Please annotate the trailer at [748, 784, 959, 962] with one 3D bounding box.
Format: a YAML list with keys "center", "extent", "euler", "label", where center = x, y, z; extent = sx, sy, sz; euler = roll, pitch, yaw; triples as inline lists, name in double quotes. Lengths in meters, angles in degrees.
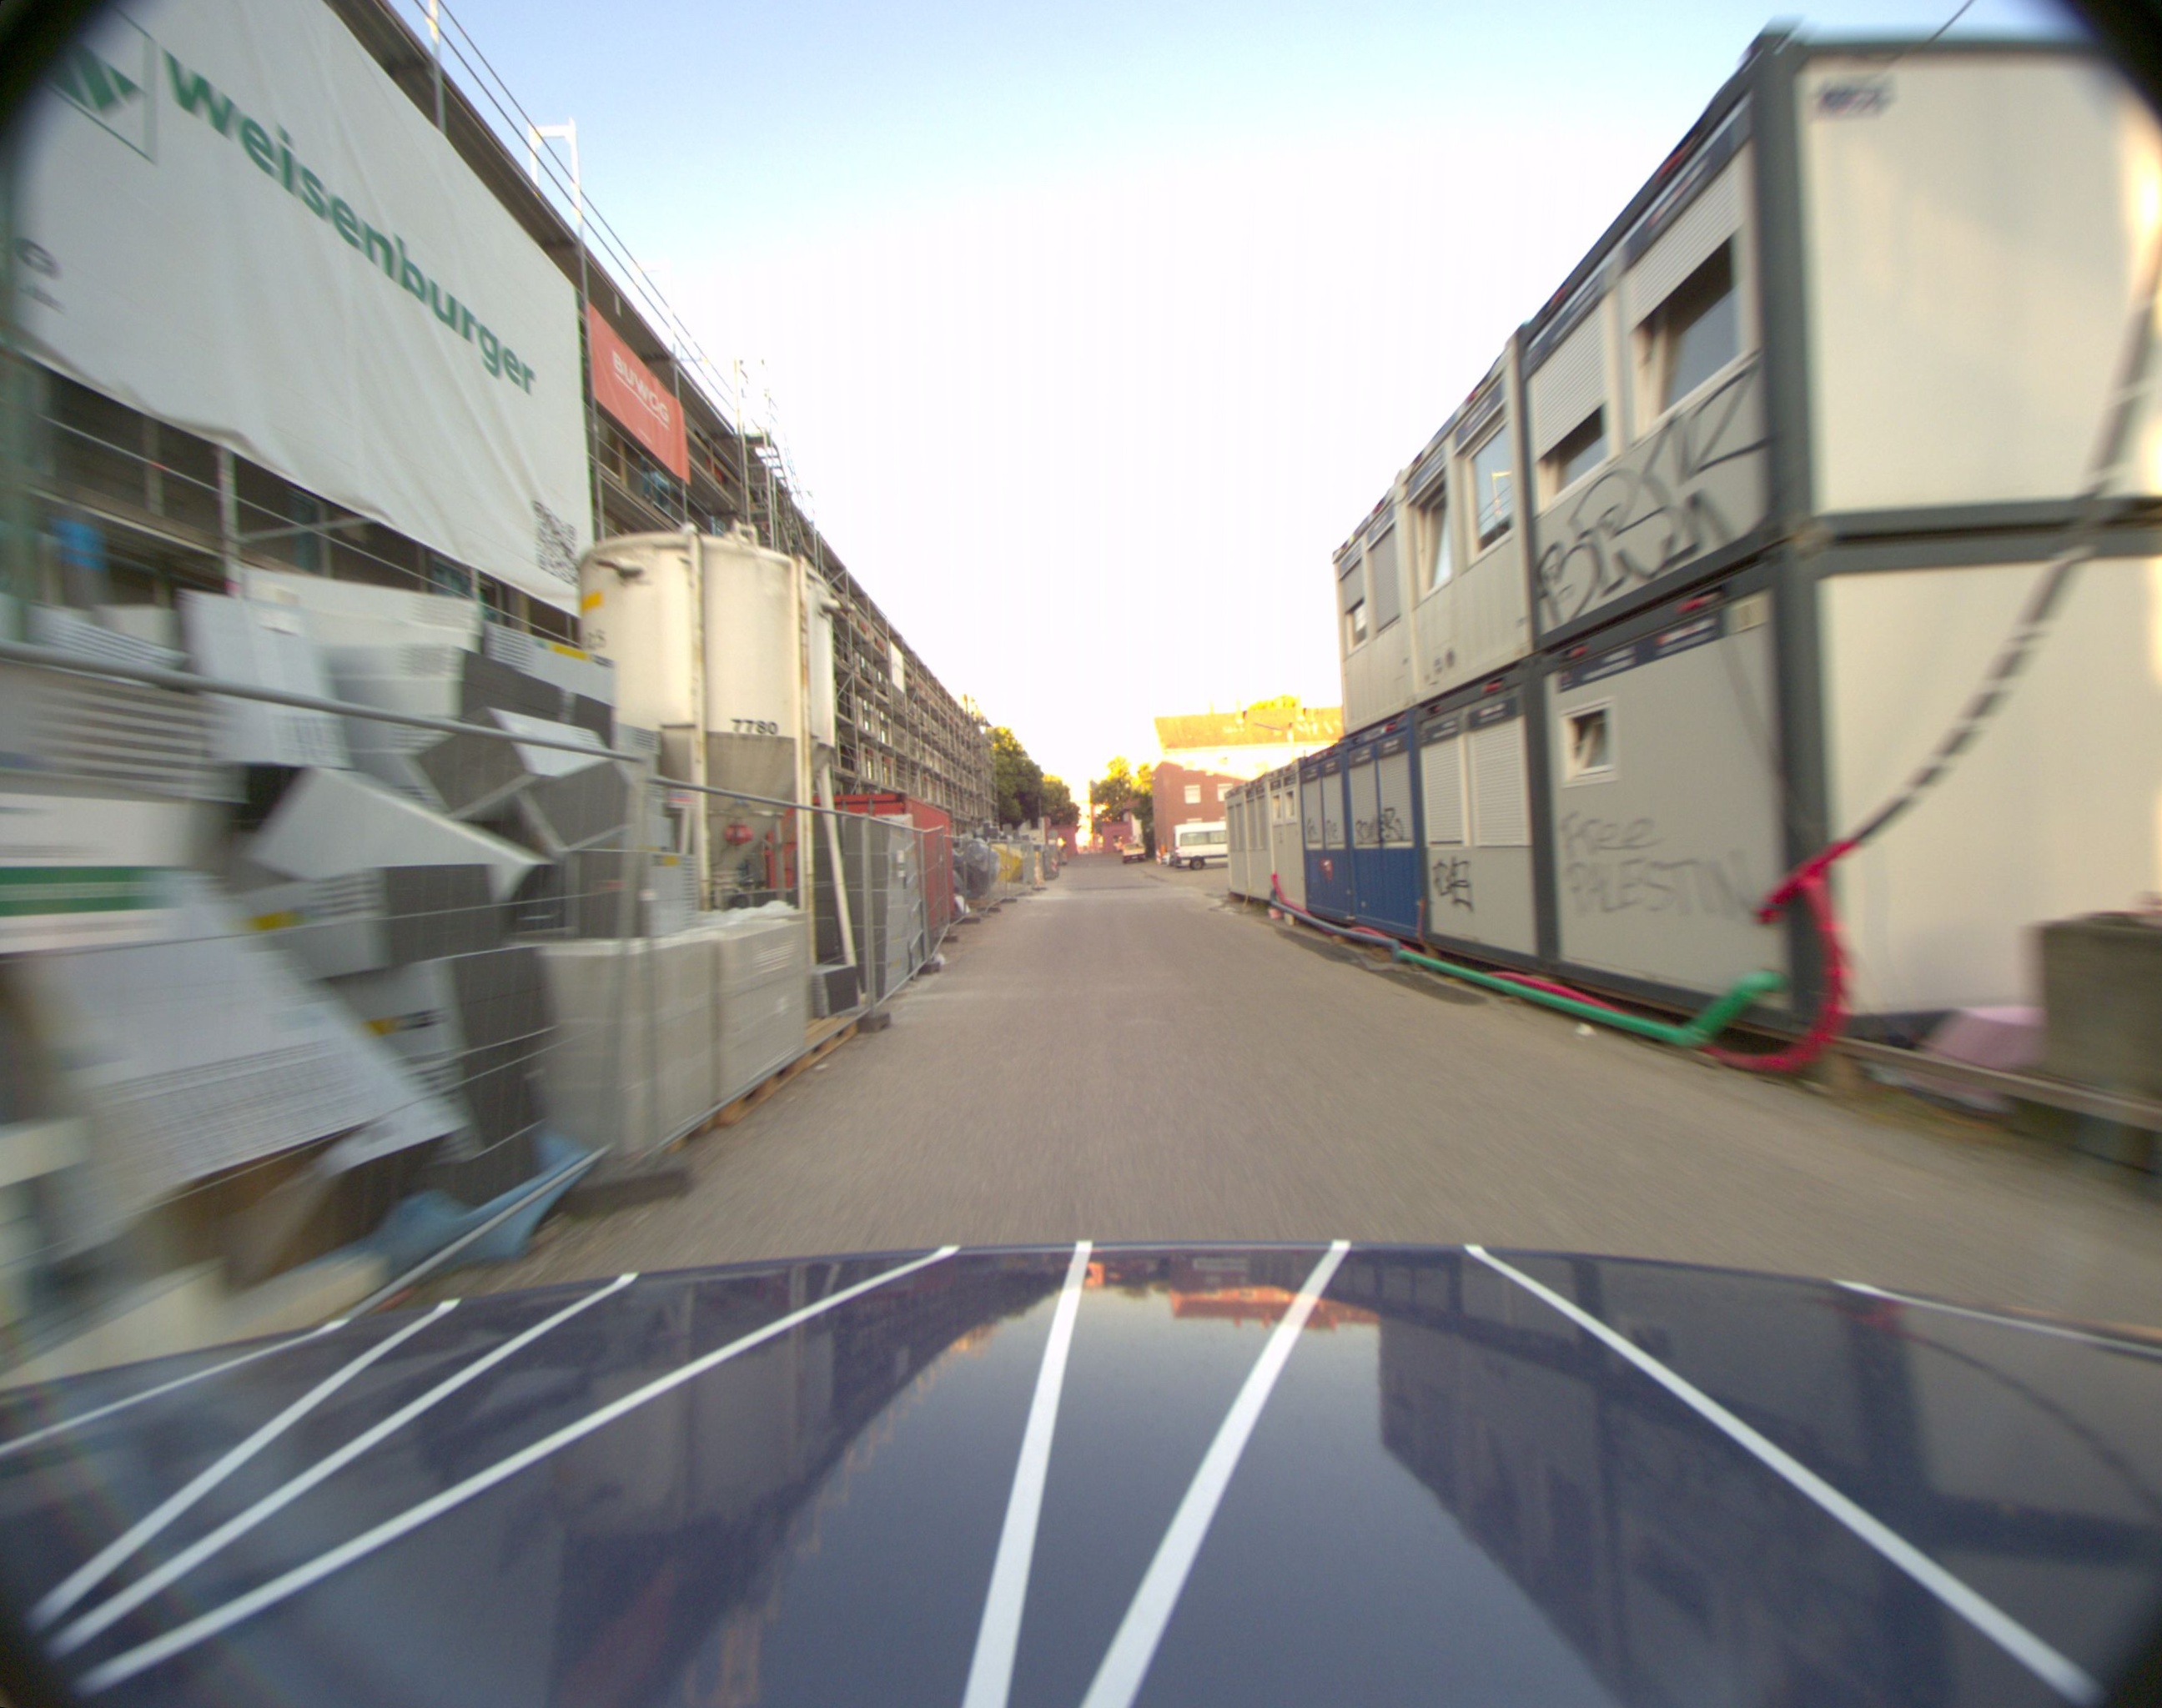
- center: [-4.299, 0.289, 15.842]
  extent: [2.581, 2.895, 6.235]
  euler: [-2, 1, -2]
  label: "trailer"

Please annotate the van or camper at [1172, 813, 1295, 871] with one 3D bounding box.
- center: [8.653, -0.685, 43.770]
  extent: [6.469, 2.625, 2.407]
  euler: [-5, 1, 3]
  label: "van or camper"

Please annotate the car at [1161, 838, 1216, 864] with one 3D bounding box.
- center: [7.812, -0.248, 55.656]
  extent: [3.726, 1.507, 1.809]
  euler: [-5, 1, 3]
  label: "car"

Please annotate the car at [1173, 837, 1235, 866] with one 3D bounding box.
- center: [7.964, -0.144, 49.426]
  extent: [3.726, 1.507, 1.769]
  euler: [-5, 1, 3]
  label: "car"

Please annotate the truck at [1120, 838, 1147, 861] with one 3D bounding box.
- center: [5.127, -0.449, 74.803]
  extent: [1.842, 2.089, 3.738]
  euler: [-5, 1, -5]
  label: "truck"
